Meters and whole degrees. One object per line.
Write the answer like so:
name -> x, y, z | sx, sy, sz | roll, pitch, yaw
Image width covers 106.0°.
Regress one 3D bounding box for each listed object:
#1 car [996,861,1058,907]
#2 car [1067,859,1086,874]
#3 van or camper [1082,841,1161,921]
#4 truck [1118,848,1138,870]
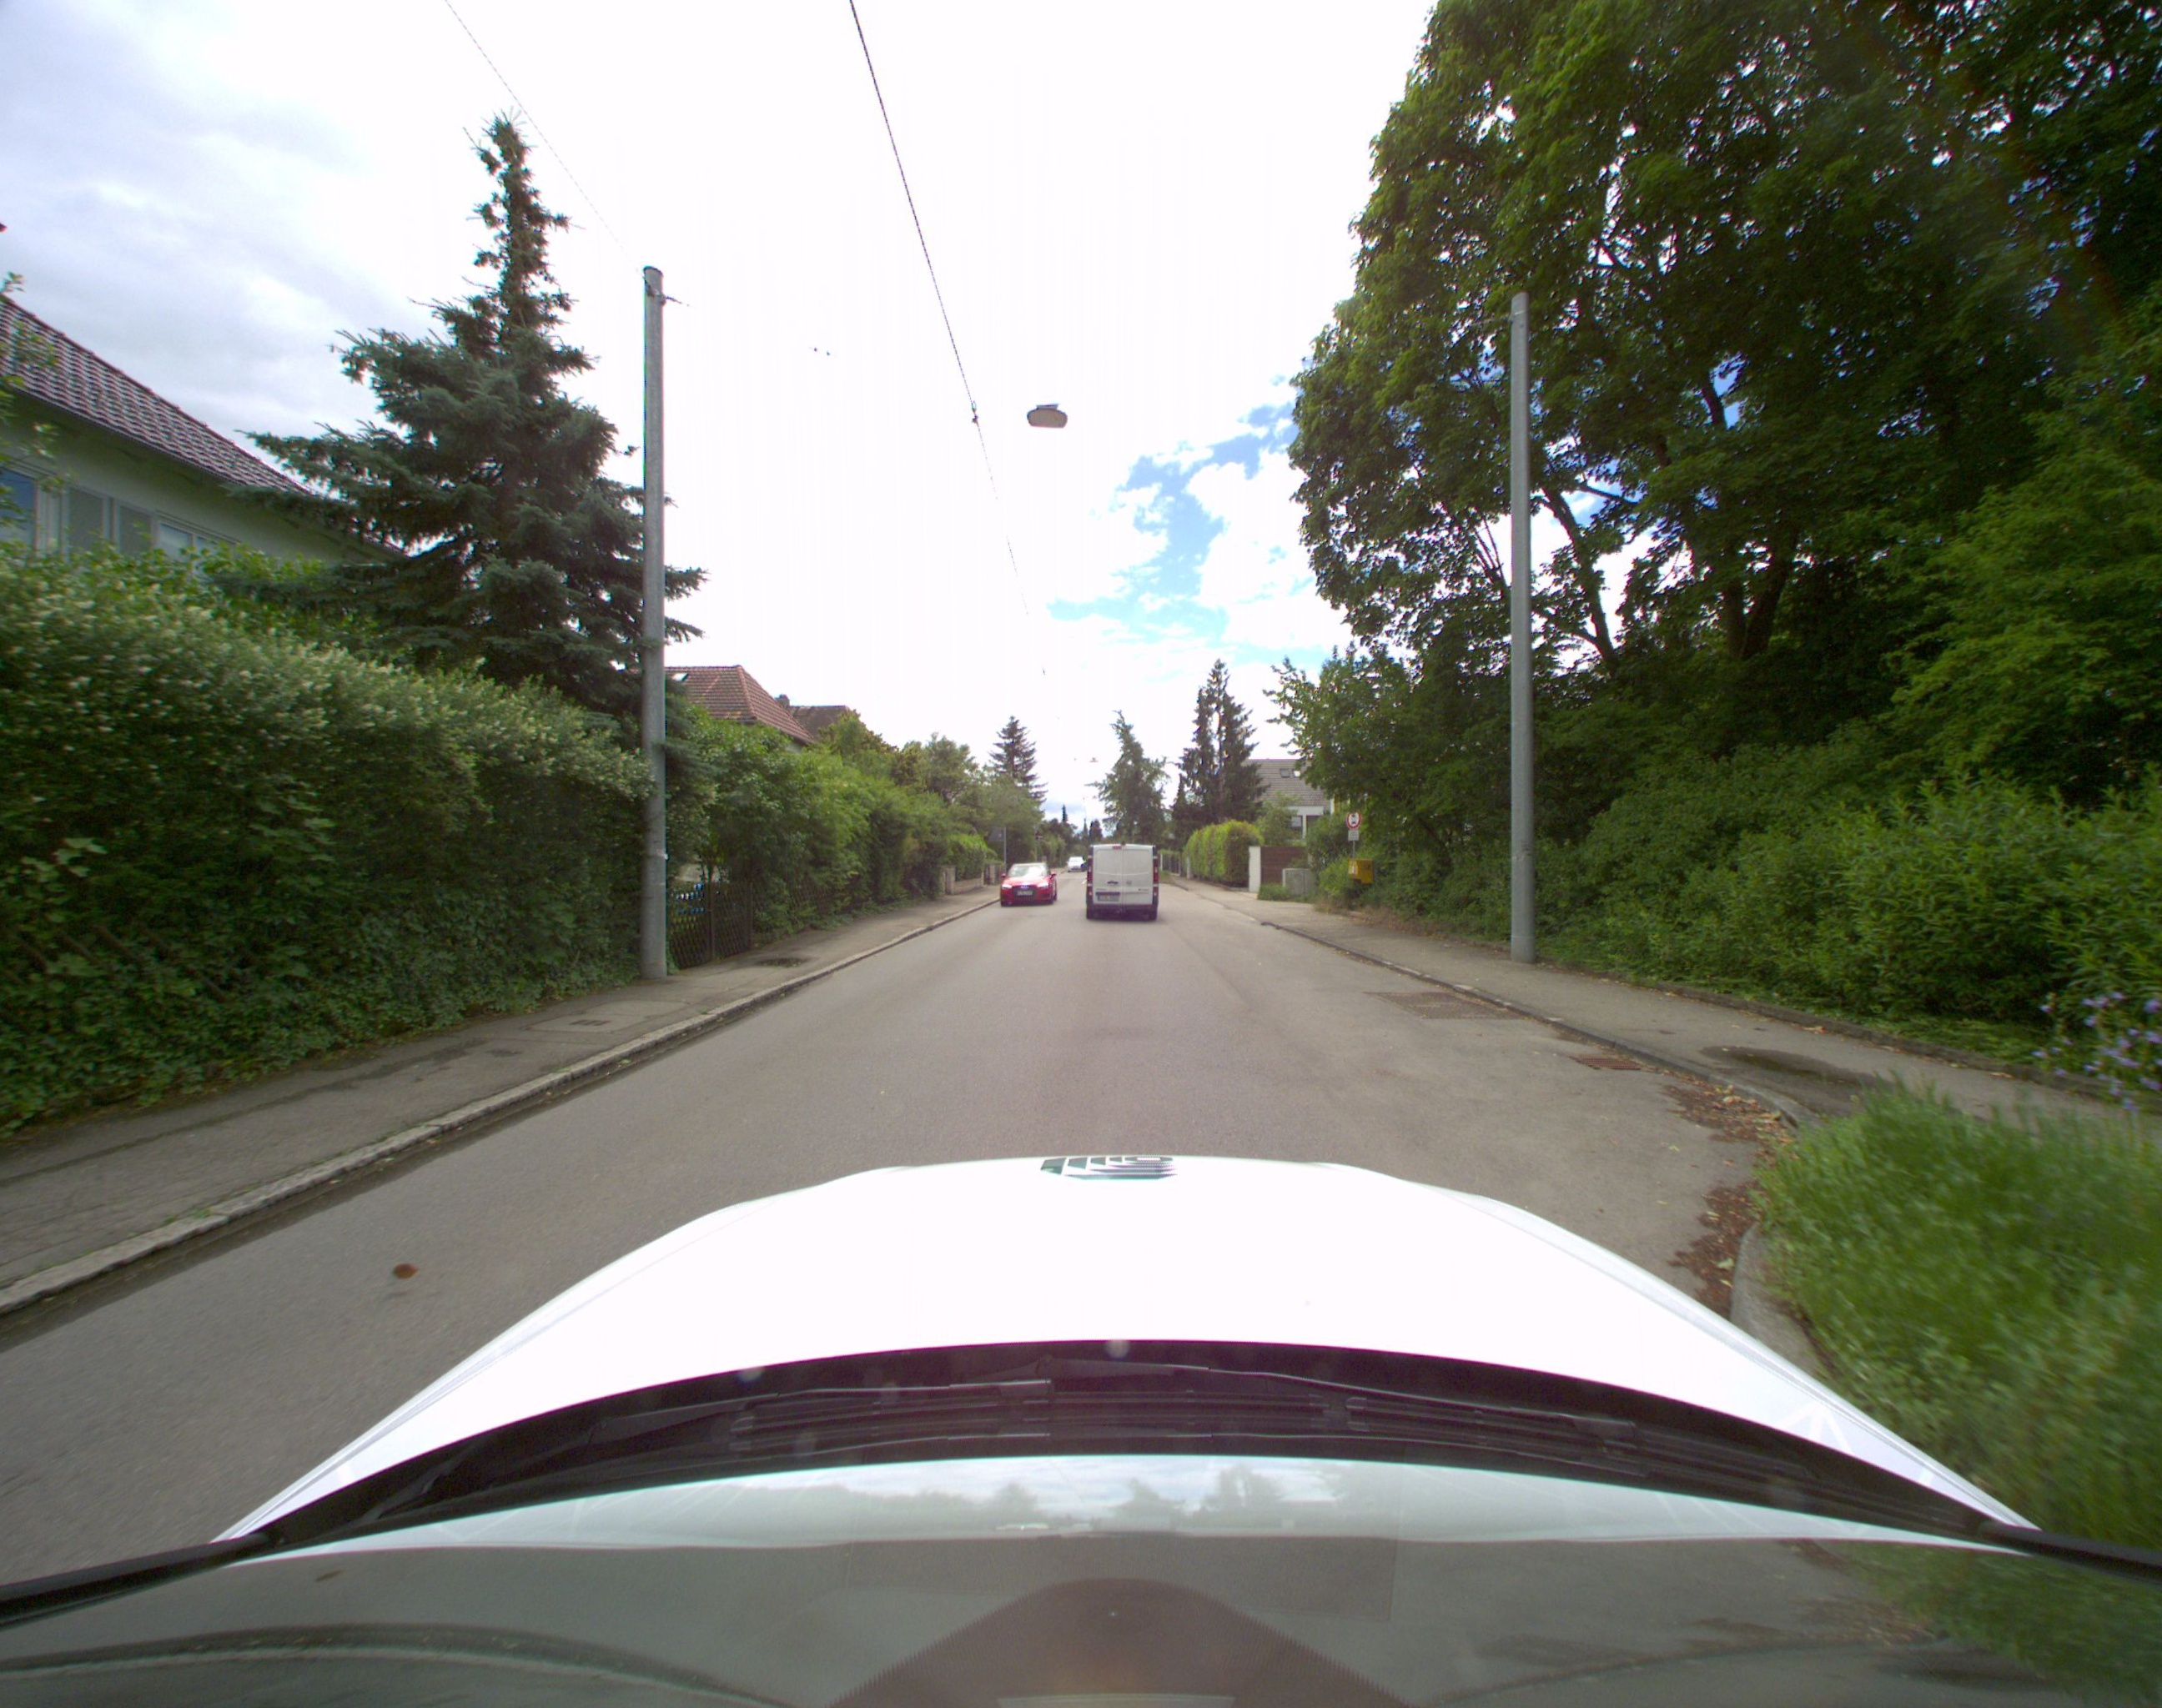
car -> -1.836, 1.016, 28.834 | 1.799, 1.431, 4.118 | -3, -1, 0
car -> -0.459, 1.255, 83.386 | 1.848, 1.451, 4.281 | -2, 0, 0
van or camper -> 1.047, 0.735, 22.588 | 1.932, 1.954, 4.765 | 1, -2, 1
truck -> 5.529, 0.566, 96.582 | 2.179, 2.472, 7.432 | 1, -1, 1
